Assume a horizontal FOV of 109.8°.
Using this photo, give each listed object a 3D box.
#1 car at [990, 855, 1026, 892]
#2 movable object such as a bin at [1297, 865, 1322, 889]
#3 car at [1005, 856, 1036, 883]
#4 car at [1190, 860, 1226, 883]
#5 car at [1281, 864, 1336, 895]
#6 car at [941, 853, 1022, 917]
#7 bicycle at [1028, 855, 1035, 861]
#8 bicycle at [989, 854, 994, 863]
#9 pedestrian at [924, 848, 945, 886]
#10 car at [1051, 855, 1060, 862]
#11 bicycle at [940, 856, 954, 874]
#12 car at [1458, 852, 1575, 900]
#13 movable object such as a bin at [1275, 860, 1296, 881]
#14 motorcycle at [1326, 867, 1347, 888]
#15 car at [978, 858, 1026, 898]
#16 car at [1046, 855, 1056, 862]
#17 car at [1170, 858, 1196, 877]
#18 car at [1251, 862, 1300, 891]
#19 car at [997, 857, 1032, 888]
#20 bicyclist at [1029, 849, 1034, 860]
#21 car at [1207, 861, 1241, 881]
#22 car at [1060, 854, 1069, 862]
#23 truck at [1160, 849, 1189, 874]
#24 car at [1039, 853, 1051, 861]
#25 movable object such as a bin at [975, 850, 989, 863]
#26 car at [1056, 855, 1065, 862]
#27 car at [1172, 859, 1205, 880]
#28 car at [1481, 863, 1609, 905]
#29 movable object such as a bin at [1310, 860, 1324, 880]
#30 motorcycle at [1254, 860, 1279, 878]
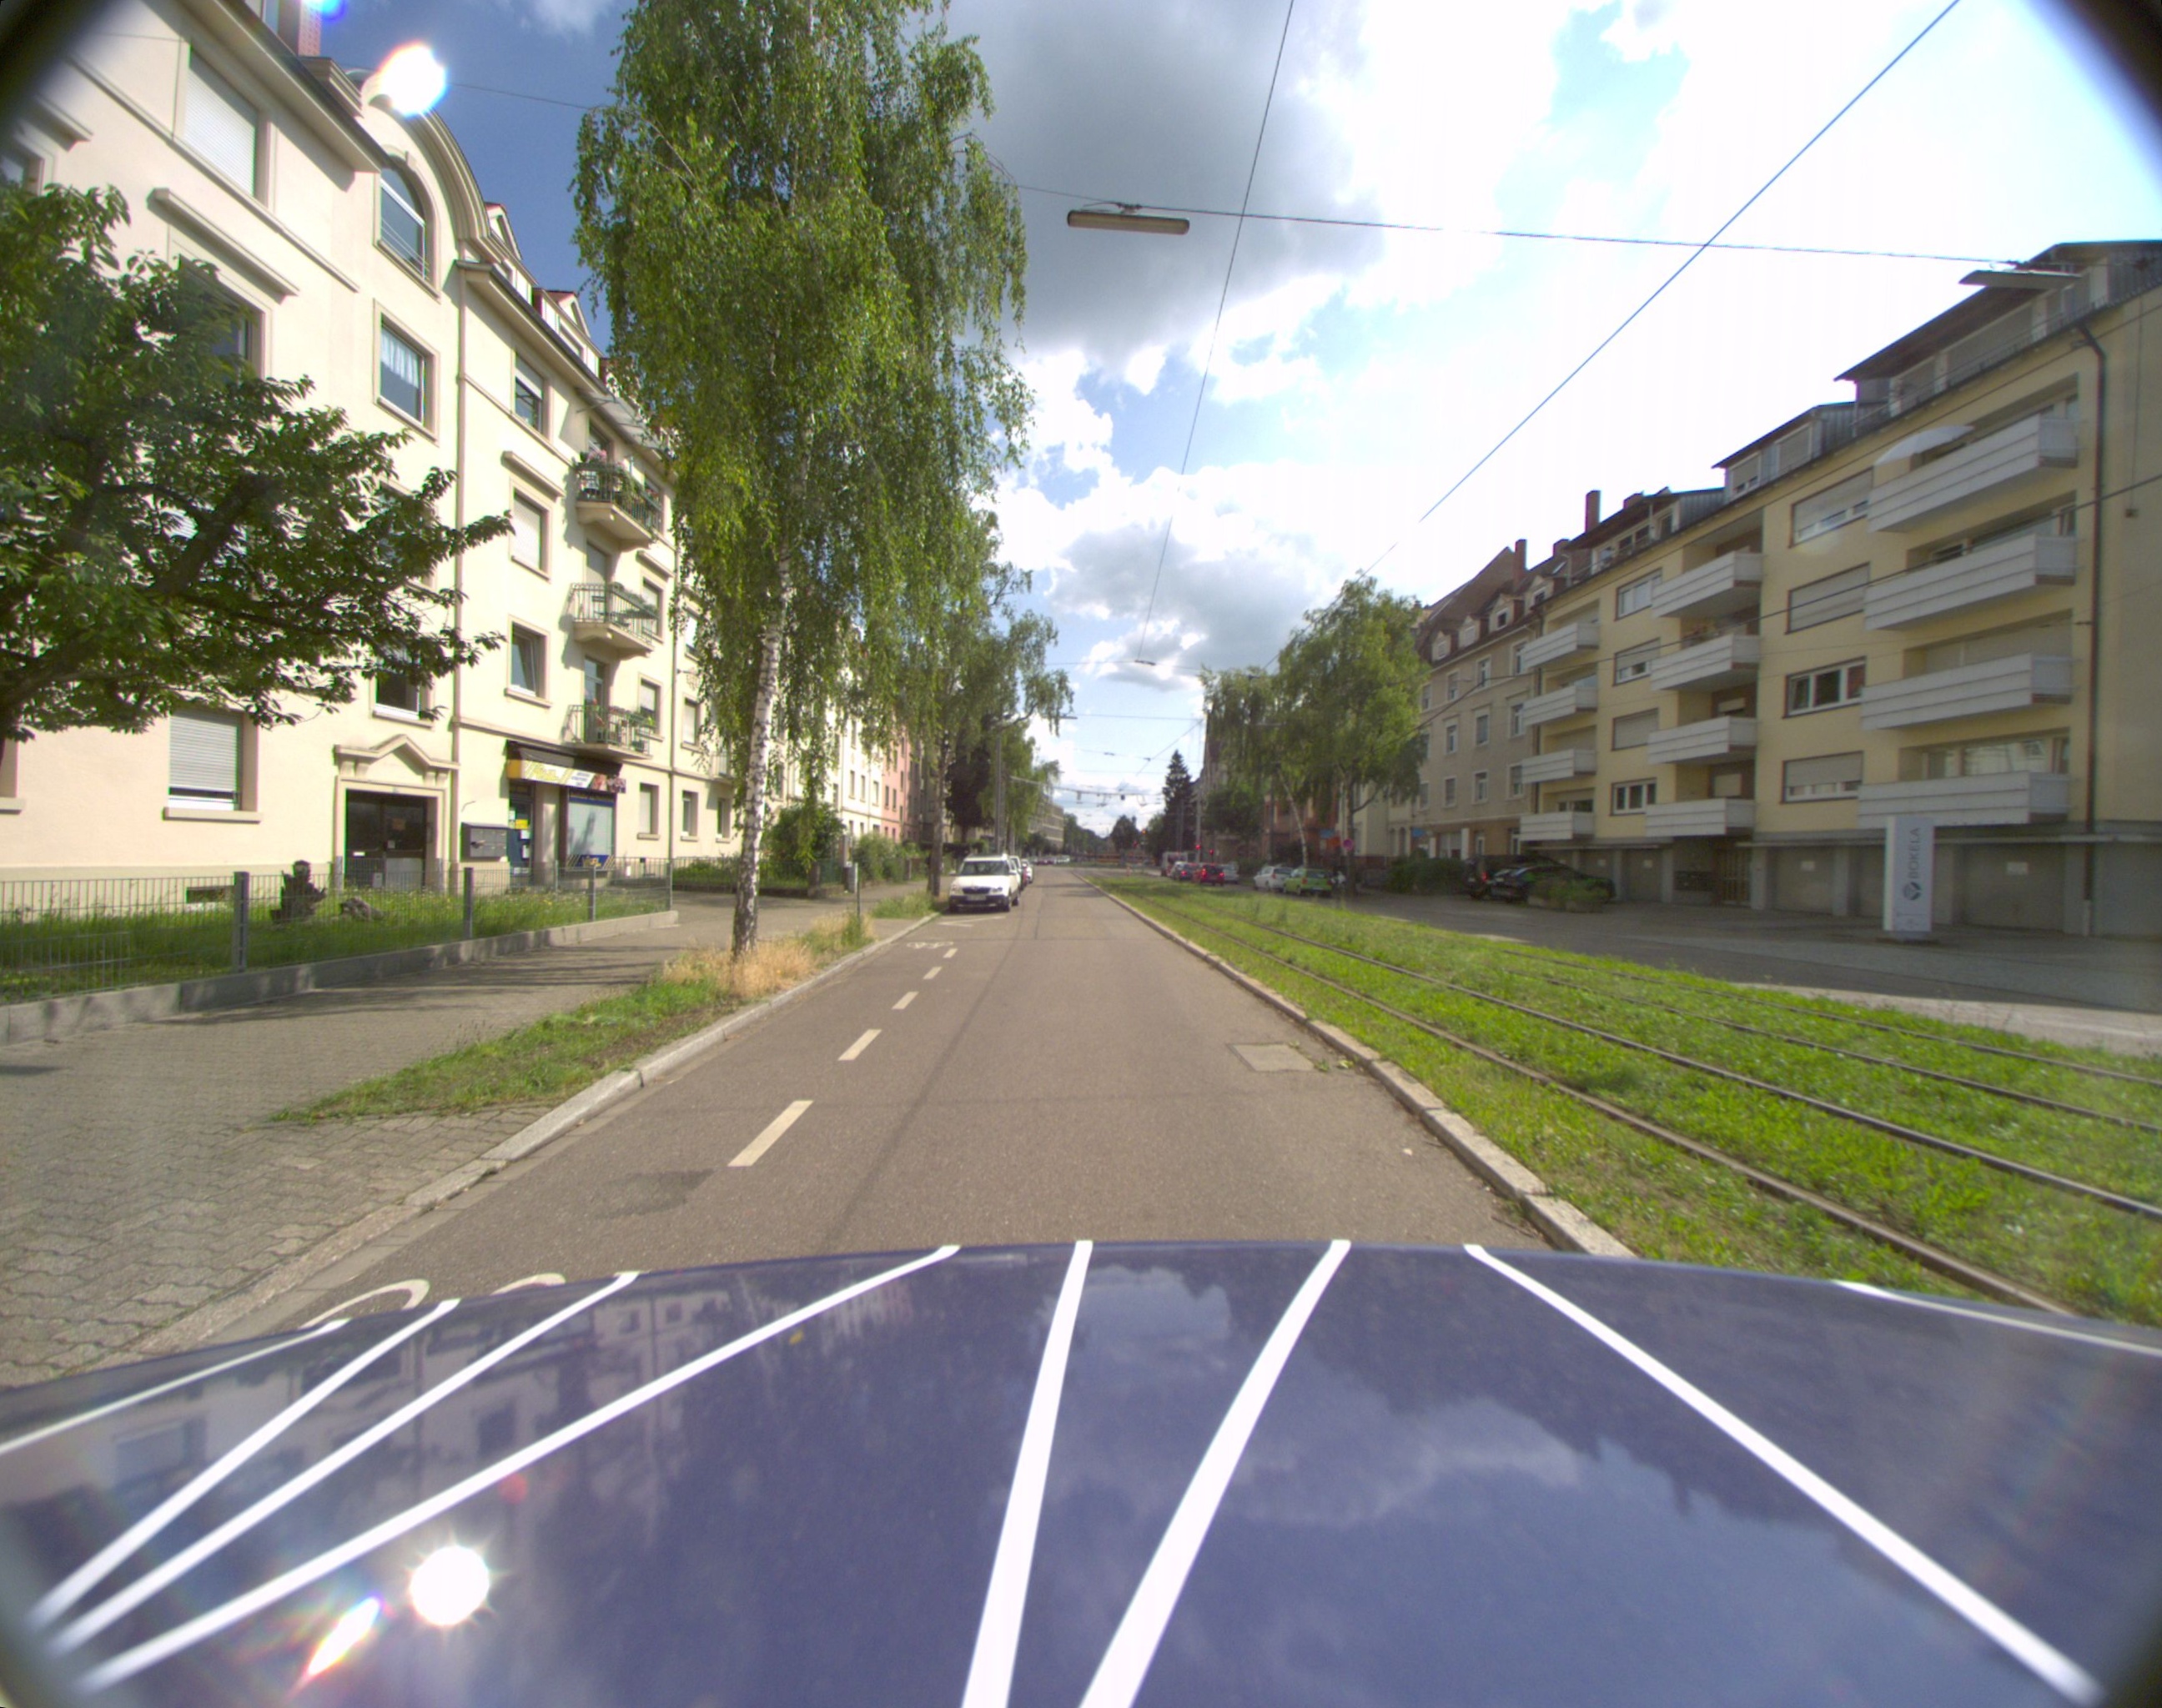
[{"bbox_3d":[-3.351,0.859,35.163,1.498,1.570,3.757,-1,0,-4],"label":"car"},{"bbox_3d":[13.649,1.370,45.490,0.953,1.421,1.521,-1,0,-3],"label":"movable object such as a bin"},{"bbox_3d":[-3.553,0.862,44.911,1.624,1.444,3.917,-2,0,-2],"label":"car"},{"bbox_3d":[8.389,1.125,50.448,1.583,1.378,3.692,2,0,-1],"label":"car"},{"bbox_3d":[11.639,1.284,39.076,1.598,1.423,3.614,2,0,-1],"label":"car"},{"bbox_3d":[-2.745,0.805,21.841,1.725,1.620,4.000,-1,0,1],"label":"car"},{"bbox_3d":[-7.795,0.612,119.551,0.771,0.885,1.892,2,0,4],"label":"bicycle"},{"bbox_3d":[-10.370,0.483,87.889,0.350,1.016,1.480,4,0,-3],"label":"bicycle"},{"bbox_3d":[-6.688,0.577,34.717,0.731,1.673,0.691,3,0,1],"label":"pedestrian"},{"bbox_3d":[-4.897,0.876,145.838,1.620,1.265,4.000,0,0,2],"label":"car"},{"bbox_3d":[-8.488,0.682,48.073,0.473,1.071,2.182,2,0,-1],"label":"bicycle"},{"bbox_3d":[18.926,0.924,33.137,3.996,2.002,1.937,0,0,1],"label":"car"},{"bbox_3d":[13.972,1.105,51.962,0.953,1.359,1.521,-4,0,-3],"label":"movable object such as a bin"},{"bbox_3d":[13.800,1.251,41.028,0.500,1.037,1.631,-2,1,-3],"label":"motorcycle"},{"bbox_3d":[-3.131,0.918,30.652,1.677,1.409,3.794,-1,0,-3],"label":"car"},{"bbox_3d":[-5.498,0.873,138.326,1.620,1.265,4.000,0,0,2],"label":"car"},{"bbox_3d":[8.528,1.151,63.878,1.759,1.406,4.134,3,0,2],"label":"car"},{"bbox_3d":[11.305,1.293,44.416,1.649,1.469,4.225,3,0,-1],"label":"car"},{"bbox_3d":[-3.472,0.927,40.015,1.593,1.444,3.843,-2,0,-2],"label":"car"},{"bbox_3d":[-7.772,0.139,119.490,0.665,1.679,0.857,2,0,3],"label":"bicyclist"},{"bbox_3d":[10.794,1.268,57.500,1.759,1.348,3.994,2,0,0],"label":"car"},{"bbox_3d":[-3.560,0.897,166.221,1.739,1.570,4.000,2,0,2],"label":"car"},{"bbox_3d":[8.972,0.688,73.326,2.190,2.201,6.613,2,0,2],"label":"truck"},{"bbox_3d":[-6.023,0.471,127.101,1.741,1.313,4.000,0,0,2],"label":"car"},{"bbox_3d":[-11.340,0.306,86.940,1.305,1.483,2.000,2,0,-1],"label":"movable object such as a bin"},{"bbox_3d":[-4.147,0.892,153.704,1.620,1.265,4.000,0,0,2],"label":"car"},{"bbox_3d":[8.098,1.118,57.499,1.759,1.348,4.511,3,0,0],"label":"car"},{"bbox_3d":[18.630,1.180,30.623,3.998,1.593,1.972,0,0,-2],"label":"car"},{"bbox_3d":[16.770,1.146,53.933,0.675,1.354,0.699,1,0,-5],"label":"movable object such as a bin"},{"bbox_3d":[13.353,1.070,54.799,0.903,1.235,2.293,1,0,-8],"label":"motorcycle"}]
